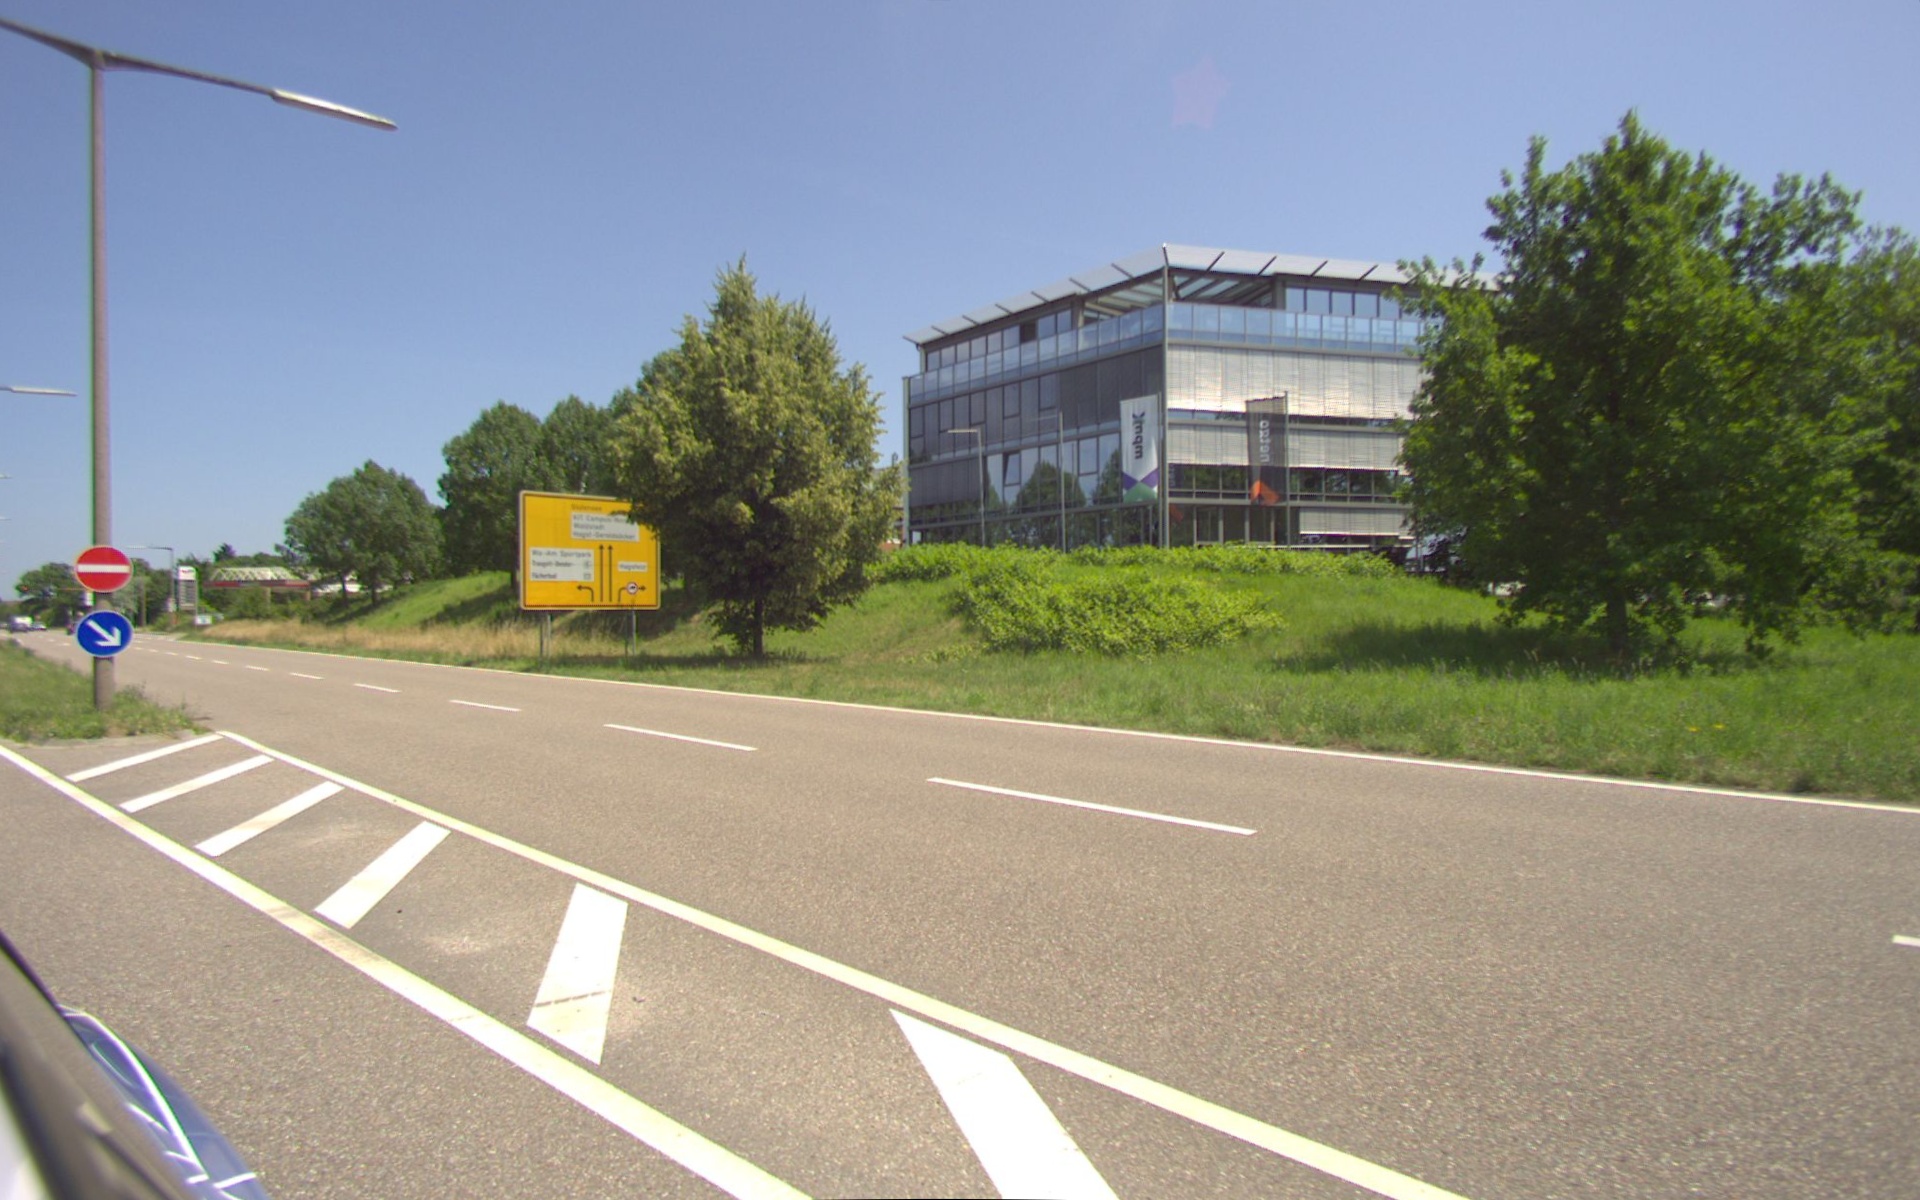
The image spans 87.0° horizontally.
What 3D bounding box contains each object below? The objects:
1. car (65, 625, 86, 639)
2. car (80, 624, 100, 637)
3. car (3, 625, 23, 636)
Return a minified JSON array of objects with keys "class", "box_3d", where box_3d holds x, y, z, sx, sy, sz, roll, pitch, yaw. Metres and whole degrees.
[{"class":"car","box_3d":[-94.197,3.405,107.802,1.598,1.364,3.519,0,0,-43]},{"class":"car","box_3d":[-115.464,4.091,134.293,3.819,1.598,1.631,0,0,43]},{"class":"car","box_3d":[-128.044,4.108,136.833,3.599,1.405,1.598,0,0,41]}]
